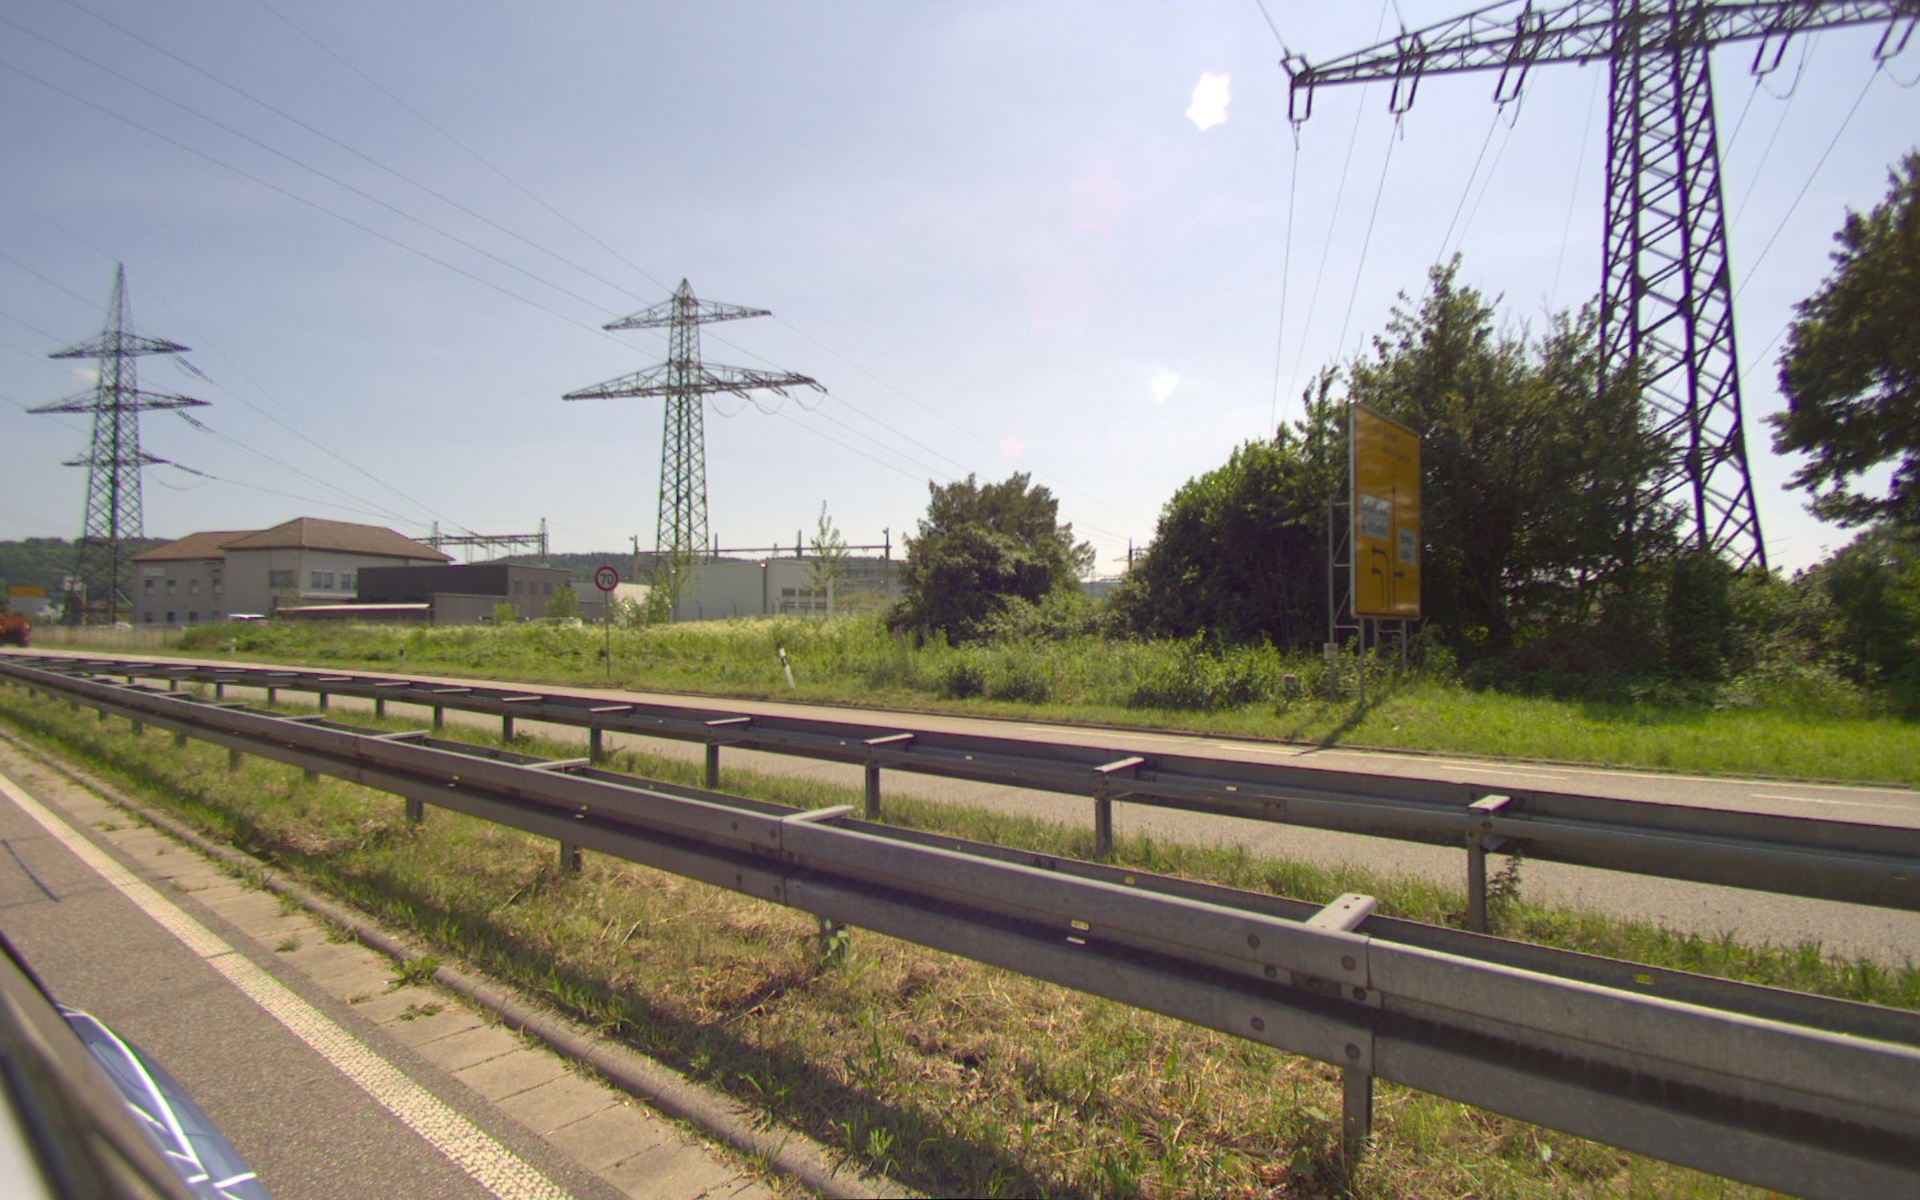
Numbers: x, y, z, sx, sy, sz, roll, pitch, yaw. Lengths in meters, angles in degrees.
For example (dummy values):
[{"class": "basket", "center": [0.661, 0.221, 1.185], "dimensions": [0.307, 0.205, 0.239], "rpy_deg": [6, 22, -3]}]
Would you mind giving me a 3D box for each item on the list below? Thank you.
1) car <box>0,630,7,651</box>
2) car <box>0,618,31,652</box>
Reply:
[{"class": "car", "center": [-95.402, 4.001, 99.420], "dimensions": [3.993, 1.929, 1.975], "rpy_deg": [0, 0, 37]}, {"class": "car", "center": [-87.852, 3.236, 93.201], "dimensions": [5.634, 3.084, 2.574], "rpy_deg": [-2, -3, 40]}]
